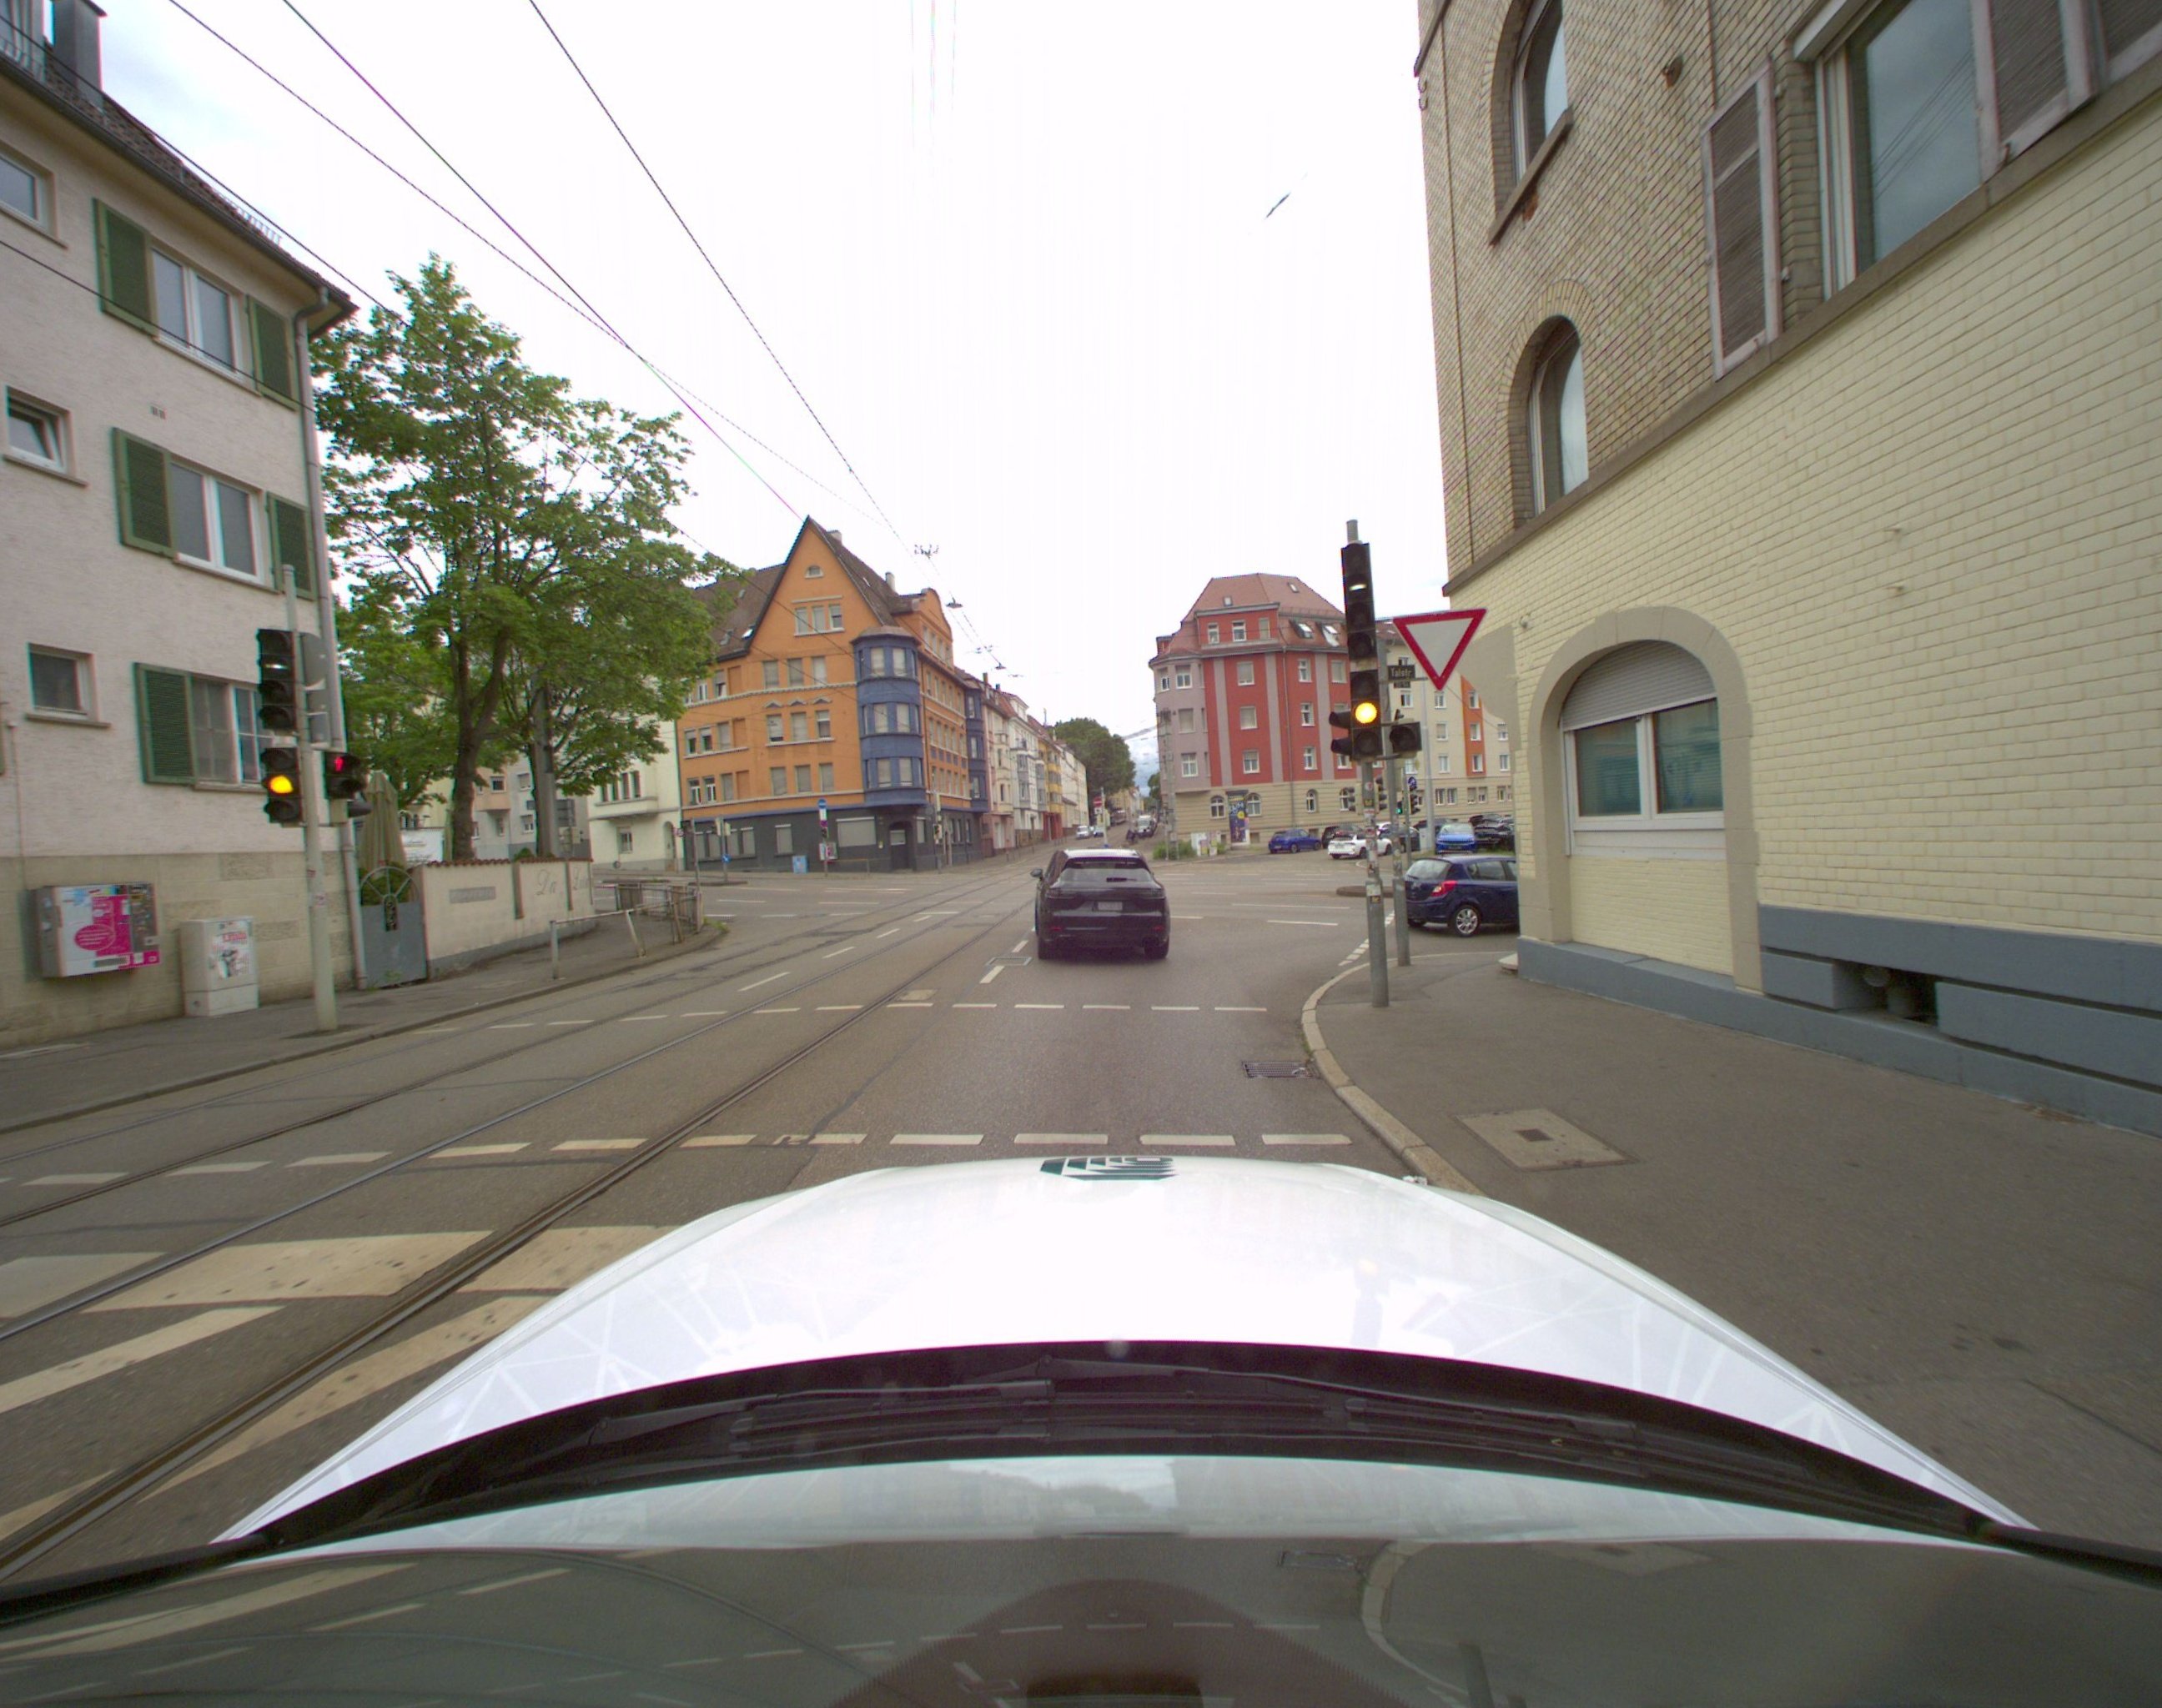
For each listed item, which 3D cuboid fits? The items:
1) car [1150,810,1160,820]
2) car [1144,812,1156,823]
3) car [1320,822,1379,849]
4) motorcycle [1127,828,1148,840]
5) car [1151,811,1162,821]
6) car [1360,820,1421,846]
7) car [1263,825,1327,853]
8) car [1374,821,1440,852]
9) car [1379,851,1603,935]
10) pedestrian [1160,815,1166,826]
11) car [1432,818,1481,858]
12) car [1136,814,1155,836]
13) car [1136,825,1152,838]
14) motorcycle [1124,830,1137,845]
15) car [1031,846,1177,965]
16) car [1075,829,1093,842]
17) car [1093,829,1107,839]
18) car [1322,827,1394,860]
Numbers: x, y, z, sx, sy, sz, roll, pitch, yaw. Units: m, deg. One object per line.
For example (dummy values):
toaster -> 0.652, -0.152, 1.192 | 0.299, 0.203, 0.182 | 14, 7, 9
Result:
car -> 17.173, -9.132, 189.280 | 2.255, 2.183, 4.779 | -1, 2, 7
car -> 14.421, -7.596, 169.162 | 2.255, 2.183, 4.779 | -1, 2, 7
car -> 18.465, -1.300, 55.970 | 4.162, 1.534, 1.897 | -5, 4, -38
motorcycle -> 6.178, -2.200, 89.335 | 2.172, 1.326, 0.699 | -2, 2, -4
car -> 17.004, -8.472, 183.006 | 2.255, 2.183, 4.779 | -1, 2, 7
car -> 22.496, -1.545, 59.171 | 4.153, 1.632, 1.901 | -5, 4, -29
car -> 13.816, -0.966, 52.463 | 4.163, 1.534, 1.896 | -6, 4, -39
car -> 19.336, -1.048, 48.202 | 4.164, 1.534, 1.896 | -6, 4, -41
car -> 7.936, 0.699, 15.846 | 3.749, 1.447, 1.750 | 0, 1, -18
pedestrian -> 12.988, -5.258, 129.091 | 0.675, 1.632, 0.676 | -2, -1, 14
car -> 17.961, -0.801, 38.841 | 1.806, 1.576, 4.287 | 0, 5, 29
car -> 8.626, -3.888, 108.686 | 2.255, 2.890, 4.779 | -1, 2, 7
car -> 7.945, -2.793, 102.403 | 1.830, 1.568, 3.827 | -1, 2, 7
motorcycle -> 4.763, -1.606, 78.857 | 0.858, 1.326, 2.182 | -9, 2, -3
car -> 0.199, 0.696, 13.670 | 2.020, 1.641, 4.350 | -1, 1, -4
car -> 0.426, -2.661, 114.671 | 1.983, 1.692, 4.009 | -1, 2, 7
car -> 2.679, -2.798, 113.825 | 1.677, 1.326, 3.670 | -1, 2, 7
car -> 15.249, -0.614, 44.737 | 4.165, 1.534, 1.895 | -6, 4, -42
